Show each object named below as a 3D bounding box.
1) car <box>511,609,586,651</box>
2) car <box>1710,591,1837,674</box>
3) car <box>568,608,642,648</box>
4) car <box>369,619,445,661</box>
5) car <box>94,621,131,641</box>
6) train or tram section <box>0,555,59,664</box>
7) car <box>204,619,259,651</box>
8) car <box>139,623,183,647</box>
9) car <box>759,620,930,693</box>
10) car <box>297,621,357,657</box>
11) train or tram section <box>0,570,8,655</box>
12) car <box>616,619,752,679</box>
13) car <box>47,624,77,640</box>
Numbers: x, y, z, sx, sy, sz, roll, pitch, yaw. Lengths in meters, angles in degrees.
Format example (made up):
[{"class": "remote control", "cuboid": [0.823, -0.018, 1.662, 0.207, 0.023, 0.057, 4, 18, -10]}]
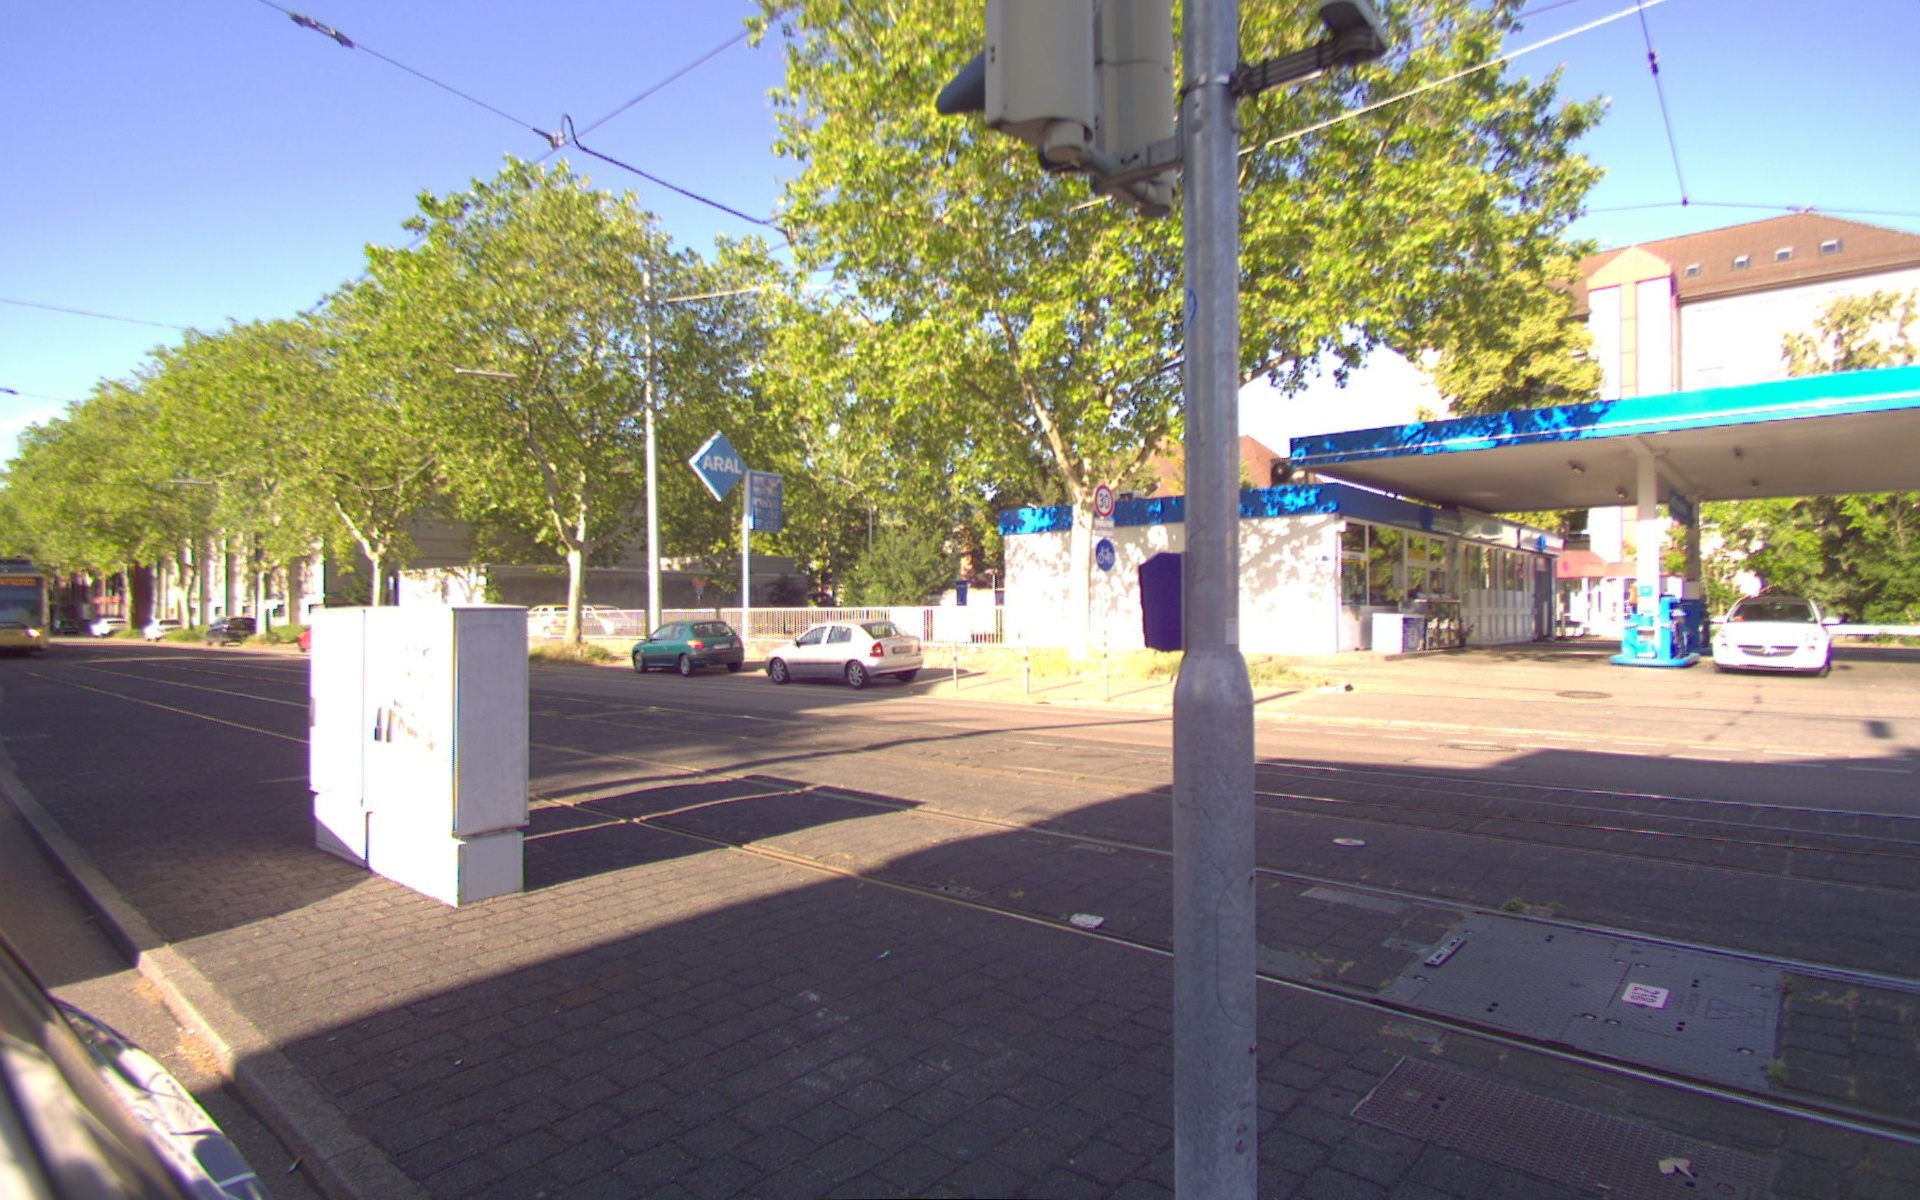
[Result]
[{"class": "car", "cuboid": [-17.083, 1.223, 41.978, 3.303, 1.628, 1.579, -1, 0, 41]}, {"class": "car", "cuboid": [15.884, 0.605, 19.700, 1.757, 1.453, 3.521, -1, -1, 41]}, {"class": "car", "cuboid": [-15.264, 1.187, 43.455, 3.303, 1.604, 1.579, -1, 0, 41]}, {"class": "car", "cuboid": [-21.876, 1.550, 40.010, 3.303, 1.519, 1.579, -1, 1, 41]}, {"class": "car", "cuboid": [-66.673, 2.434, 79.619, 3.748, 1.459, 1.674, -1, 1, 41]}, {"class": "train or tram section", "cuboid": [-37.374, 0.425, 38.720, 12.646, 3.692, 2.683, -1, -1, 41]}, {"class": "car", "cuboid": [-40.673, 1.930, 56.463, 3.748, 1.670, 1.674, -1, 1, 41]}, {"class": "car", "cuboid": [-53.857, 2.331, 68.190, 3.748, 1.459, 1.674, -1, 1, 41]}, {"class": "car", "cuboid": [-2.638, 1.199, 22.649, 3.812, 1.413, 1.674, -1, 1, 41]}, {"class": "car", "cuboid": [-28.685, 1.747, 45.839, 2.621, 1.519, 1.579, -1, 1, 41]}, {"class": "train or tram section", "cuboid": [-46.919, 0.642, 46.976, 12.646, 3.692, 2.683, -1, -1, 41]}, {"class": "car", "cuboid": [-7.401, 1.259, 26.977, 3.748, 1.413, 1.674, -1, 1, 41]}, {"class": "car", "cuboid": [-85.232, 3.015, 96.059, 3.748, 1.459, 1.674, -1, 1, 41]}]
